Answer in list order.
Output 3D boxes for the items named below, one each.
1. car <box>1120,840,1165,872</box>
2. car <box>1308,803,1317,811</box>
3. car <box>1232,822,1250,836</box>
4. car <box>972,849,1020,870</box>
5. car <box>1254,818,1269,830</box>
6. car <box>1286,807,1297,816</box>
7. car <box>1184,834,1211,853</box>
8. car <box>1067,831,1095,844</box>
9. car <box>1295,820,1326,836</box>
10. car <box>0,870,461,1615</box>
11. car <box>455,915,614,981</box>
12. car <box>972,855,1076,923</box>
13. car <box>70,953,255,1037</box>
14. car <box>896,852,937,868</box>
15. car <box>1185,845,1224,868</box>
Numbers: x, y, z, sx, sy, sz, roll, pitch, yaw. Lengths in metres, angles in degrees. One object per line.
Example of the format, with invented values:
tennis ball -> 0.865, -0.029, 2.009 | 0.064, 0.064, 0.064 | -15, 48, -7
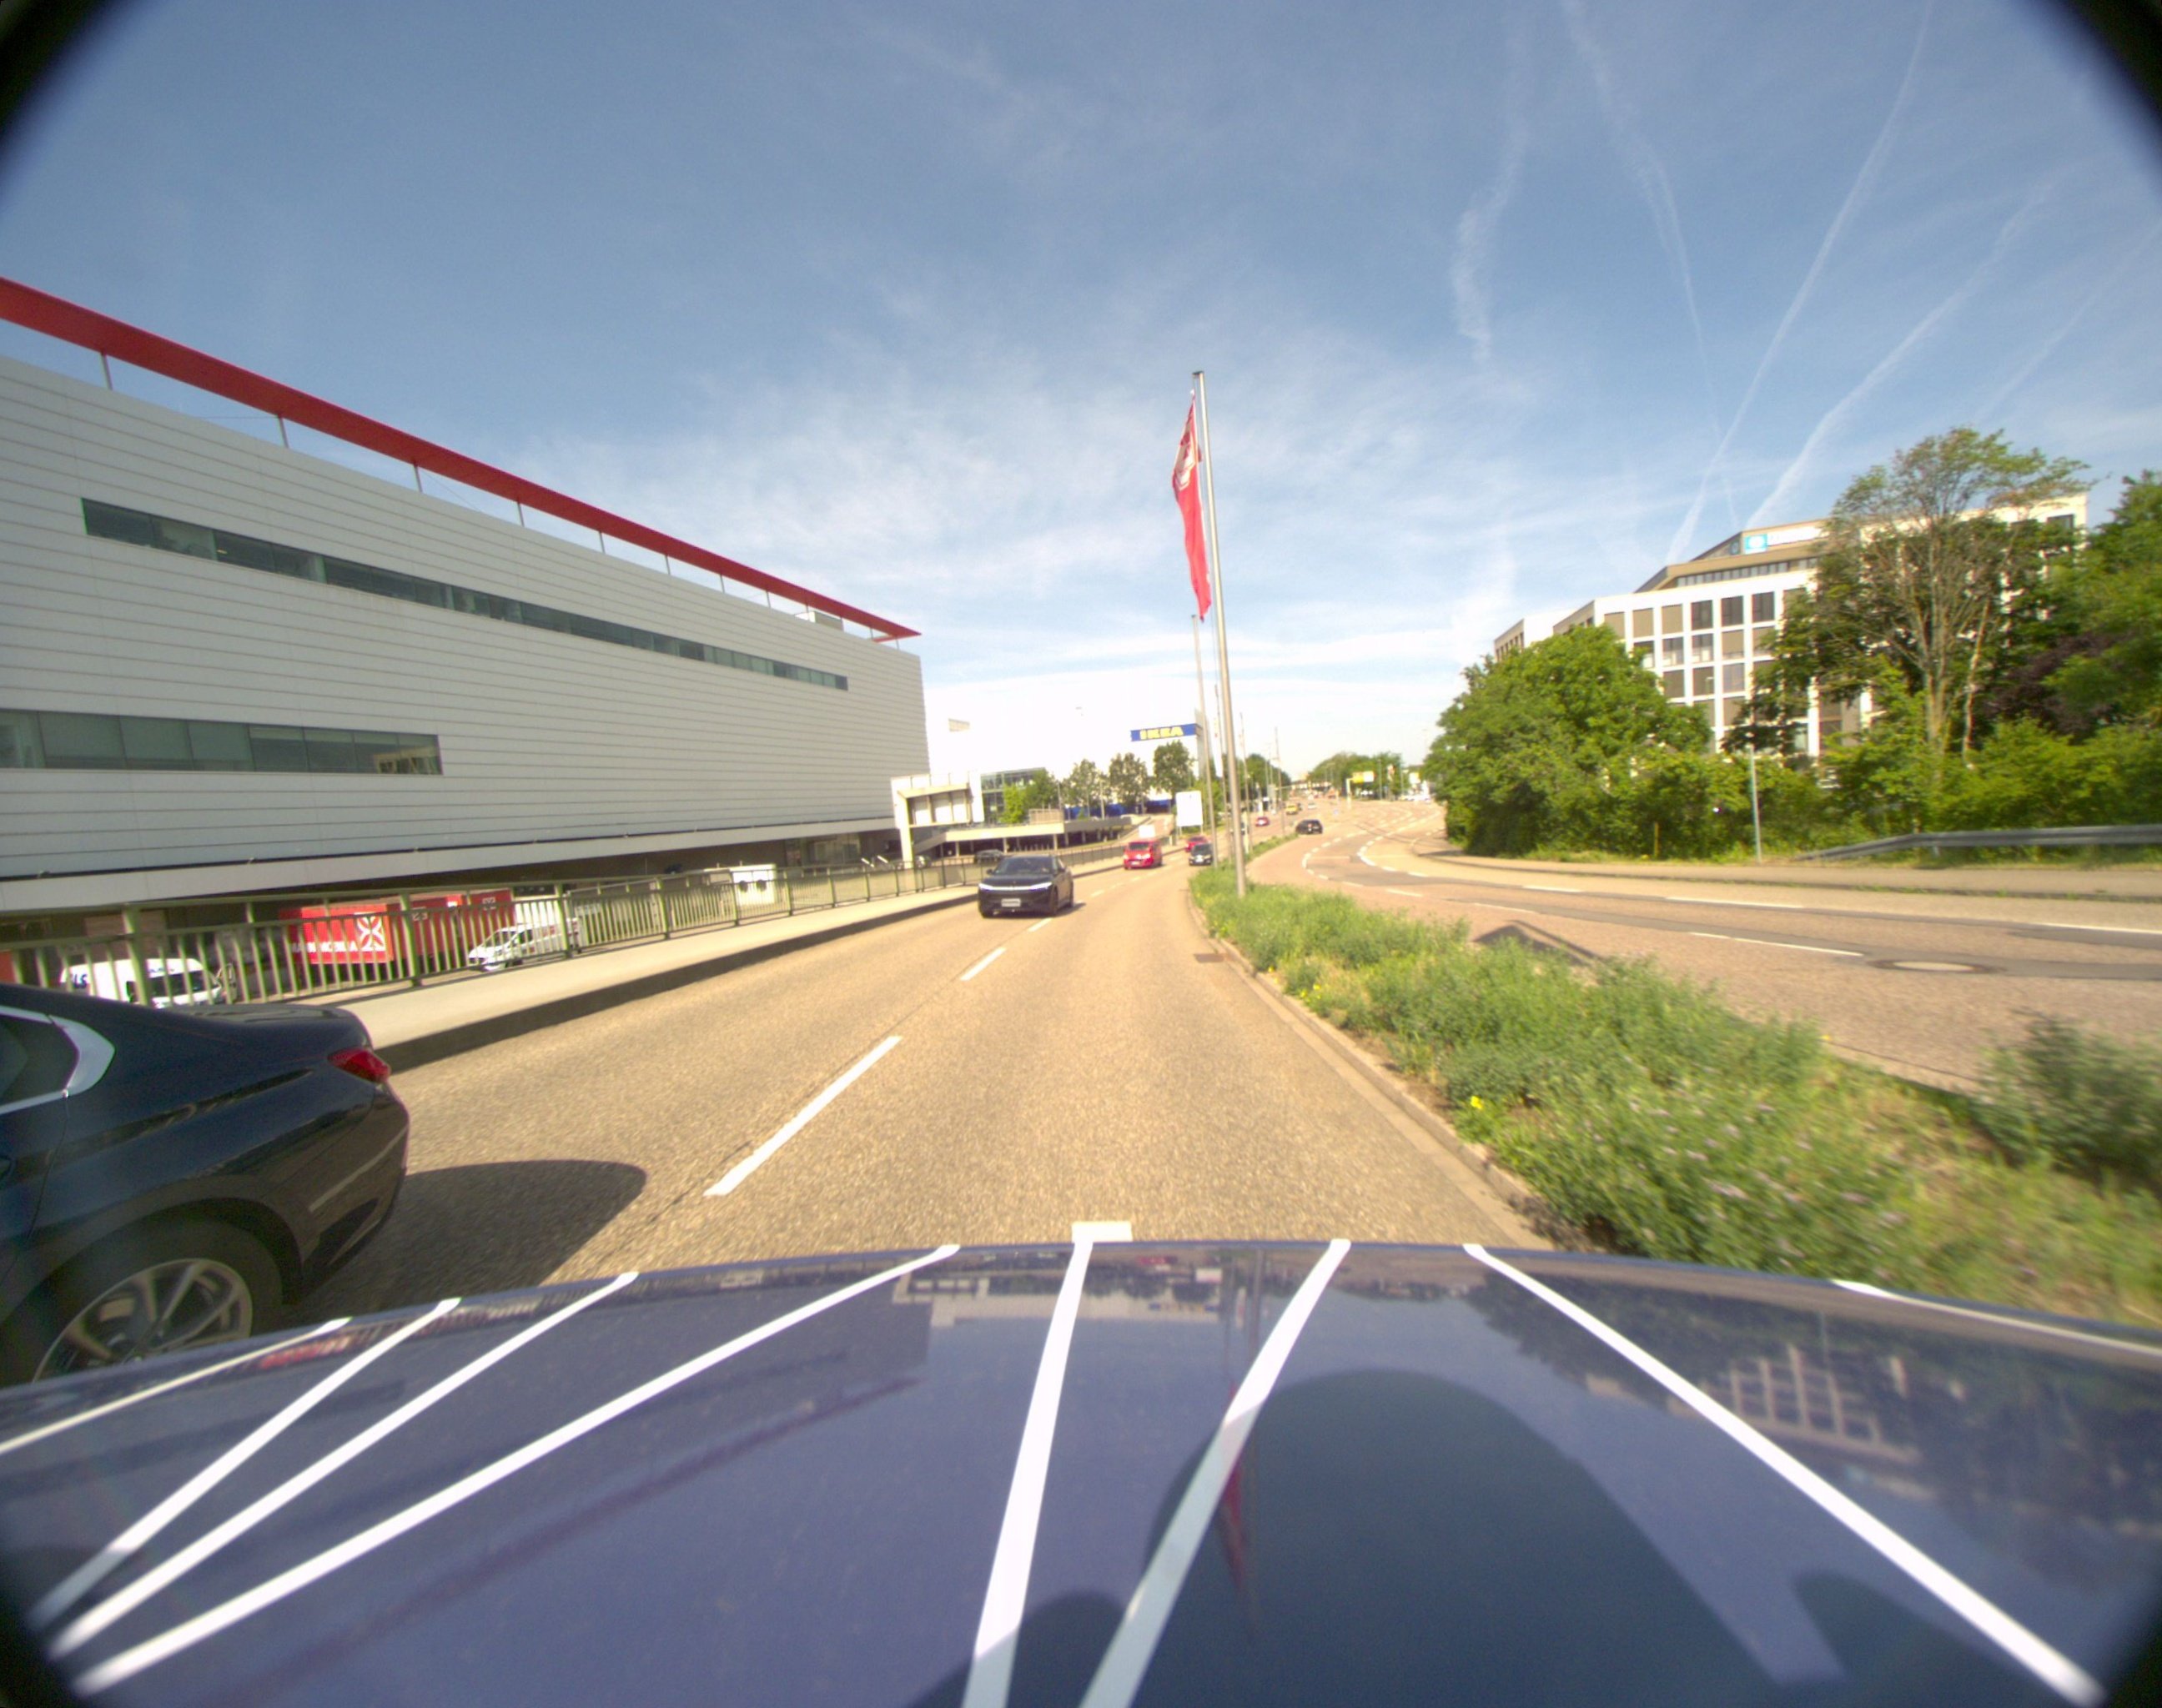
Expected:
car -> 4.243, 0.088, 52.048 | 1.985, 1.897, 4.148 | -2, 3, 20
car -> 51.645, -10.423, 169.272 | 1.823, 1.467, 4.002 | -3, 4, 18
car -> 20.556, -3.179, 97.572 | 1.823, 1.467, 4.002 | -3, 4, 18
car -> -8.622, 0.568, 77.330 | 4.407, 1.723, 1.864 | -3, 4, 27
car -> 27.686, -4.594, 116.421 | 1.823, 1.467, 4.002 | -3, 4, 18
car -> 41.284, -8.296, 148.812 | 1.823, 1.467, 4.002 | -3, 4, 18
car -> 11.049, -1.004, 71.675 | 1.775, 1.649, 4.147 | -1, 3, 19
car -> -0.028, -2.703, 126.447 | 4.311, 1.824, 2.001 | -3, 2, 12
car -> 25.591, -2.943, 84.753 | 1.861, 1.521, 4.140 | -4, 4, -4
car -> -3.237, 1.002, 0.468 | 1.792, 1.476, 4.517 | -4, 4, 1
car -> -26.328, 4.450, 36.975 | 2.128, 1.994, 6.015 | -2, 4, 18
car -> -1.356, 0.823, 19.786 | 1.860, 1.520, 4.146 | -2, 0, 7
car -> -34.839, 5.319, 28.842 | 6.000, 2.607, 2.133 | -4, 4, 18
car -> -18.004, 0.645, 83.221 | 3.862, 1.368, 1.812 | -5, 2, 17
car -> 8.687, 0.154, 53.379 | 1.847, 1.410, 4.005 | -2, 2, 21
